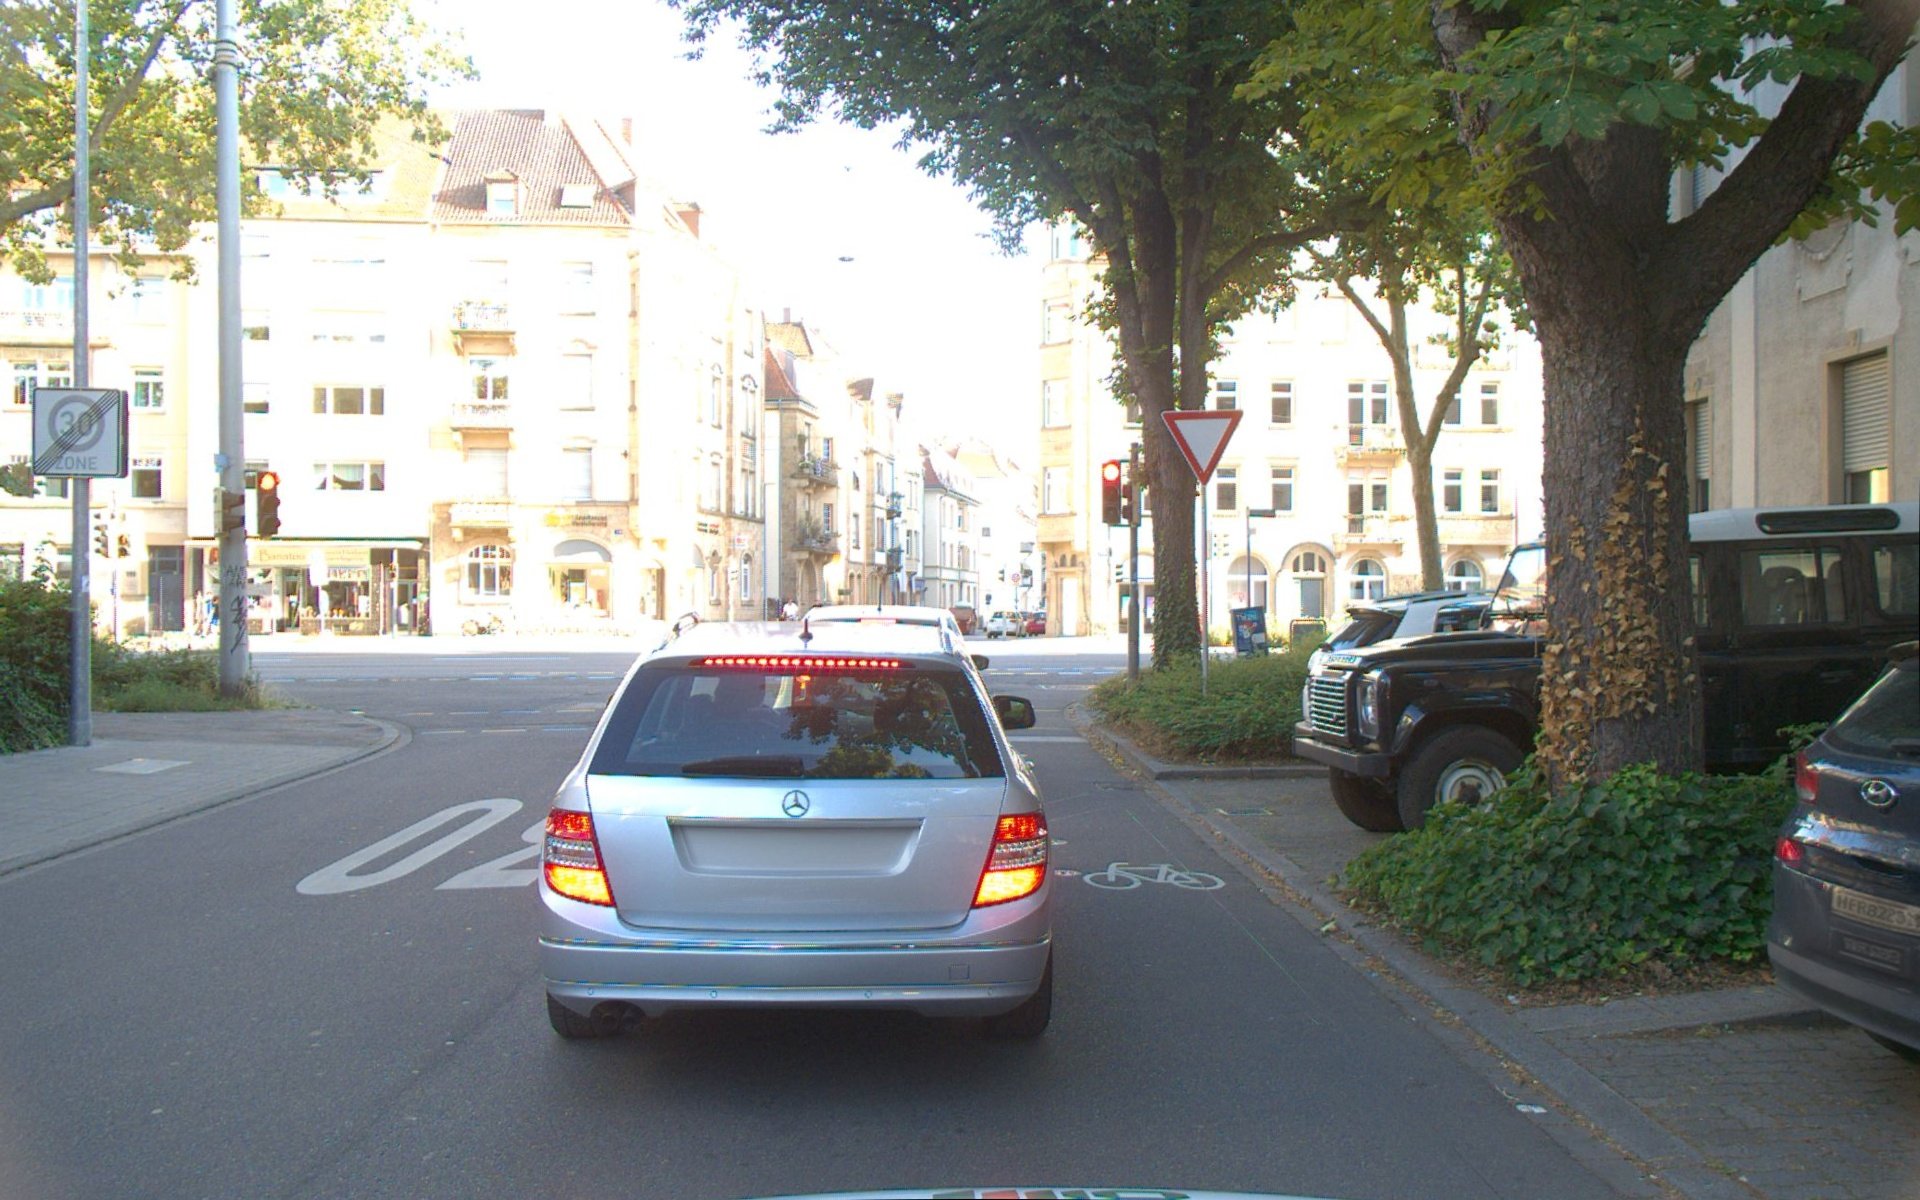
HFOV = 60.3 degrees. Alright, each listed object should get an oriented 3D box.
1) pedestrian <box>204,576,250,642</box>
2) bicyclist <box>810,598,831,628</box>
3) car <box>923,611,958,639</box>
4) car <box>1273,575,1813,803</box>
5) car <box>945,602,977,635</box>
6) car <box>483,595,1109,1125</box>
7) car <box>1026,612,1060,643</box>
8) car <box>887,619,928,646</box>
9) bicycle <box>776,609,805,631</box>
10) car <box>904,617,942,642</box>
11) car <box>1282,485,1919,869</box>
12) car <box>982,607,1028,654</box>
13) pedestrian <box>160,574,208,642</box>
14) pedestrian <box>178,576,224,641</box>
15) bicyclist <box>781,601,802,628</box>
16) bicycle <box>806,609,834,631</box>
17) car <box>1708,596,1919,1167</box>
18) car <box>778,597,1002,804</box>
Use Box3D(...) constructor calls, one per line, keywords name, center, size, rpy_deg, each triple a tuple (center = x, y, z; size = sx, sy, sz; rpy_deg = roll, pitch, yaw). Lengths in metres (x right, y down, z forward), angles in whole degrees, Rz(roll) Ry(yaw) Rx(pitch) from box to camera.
Box3D(name="pedestrian", center=(-28.071, 0.337, 63.363), size=(1.320, 2.507, 1.059), rpy_deg=(0, 0, -5))
Box3D(name="bicyclist", center=(-6.199, 0.586, 73.354), size=(0.754, 1.312, 0.753), rpy_deg=(1, 0, 10))
Box3D(name="car", center=(-1.260, 1.638, 108.703), size=(1.796, 1.692, 4.003), rpy_deg=(0, 1, 7))
Box3D(name="car", center=(4.515, 0.654, 13.136), size=(3.650, 1.597, 1.707), rpy_deg=(-1, 0, -4))
Box3D(name="car", center=(0.093, 1.285, 117.318), size=(1.749, 2.242, 4.003), rpy_deg=(0, 1, 7))
Box3D(name="car", center=(-0.546, 0.735, 6.928), size=(1.741, 1.477, 4.546), rpy_deg=(1, 0, -2))
Box3D(name="car", center=(5.127, 1.658, 101.971), size=(1.796, 1.775, 4.003), rpy_deg=(0, 1, 7))
Box3D(name="car", center=(-3.063, 1.875, 96.952), size=(1.796, 1.427, 4.003), rpy_deg=(0, 1, 7))
Box3D(name="bicycle", center=(-7.498, 0.871, 73.245), size=(0.754, 0.956, 1.942), rpy_deg=(1, 0, 10))
Box3D(name="car", center=(-2.264, 1.827, 102.456), size=(1.796, 1.427, 4.003), rpy_deg=(0, 1, 7))
Box3D(name="car", center=(4.374, 0.407, 10.169), size=(4.377, 2.072, 1.699), rpy_deg=(-1, 0, -4))
Box3D(name="car", center=(2.362, 1.555, 85.898), size=(1.987, 2.319, 4.003), rpy_deg=(0, 1, 7))
Box3D(name="pedestrian", center=(-29.275, 0.295, 62.403), size=(1.320, 2.507, 1.059), rpy_deg=(0, 0, -5))
Box3D(name="pedestrian", center=(-29.450, 0.317, 64.226), size=(1.320, 2.507, 1.059), rpy_deg=(0, 0, -5))
Box3D(name="bicyclist", center=(-7.480, 0.645, 73.324), size=(0.754, 1.177, 0.753), rpy_deg=(1, 0, 10))
Box3D(name="bicycle", center=(-6.202, 0.885, 73.352), size=(0.754, 0.950, 1.942), rpy_deg=(1, 0, 10))
Box3D(name="car", center=(4.288, 0.697, 4.590), size=(3.650, 1.477, 1.707), rpy_deg=(-1, 0, -4))
Box3D(name="car", center=(-0.587, 0.725, 14.017), size=(1.587, 1.472, 4.342), rpy_deg=(1, 0, -2))
